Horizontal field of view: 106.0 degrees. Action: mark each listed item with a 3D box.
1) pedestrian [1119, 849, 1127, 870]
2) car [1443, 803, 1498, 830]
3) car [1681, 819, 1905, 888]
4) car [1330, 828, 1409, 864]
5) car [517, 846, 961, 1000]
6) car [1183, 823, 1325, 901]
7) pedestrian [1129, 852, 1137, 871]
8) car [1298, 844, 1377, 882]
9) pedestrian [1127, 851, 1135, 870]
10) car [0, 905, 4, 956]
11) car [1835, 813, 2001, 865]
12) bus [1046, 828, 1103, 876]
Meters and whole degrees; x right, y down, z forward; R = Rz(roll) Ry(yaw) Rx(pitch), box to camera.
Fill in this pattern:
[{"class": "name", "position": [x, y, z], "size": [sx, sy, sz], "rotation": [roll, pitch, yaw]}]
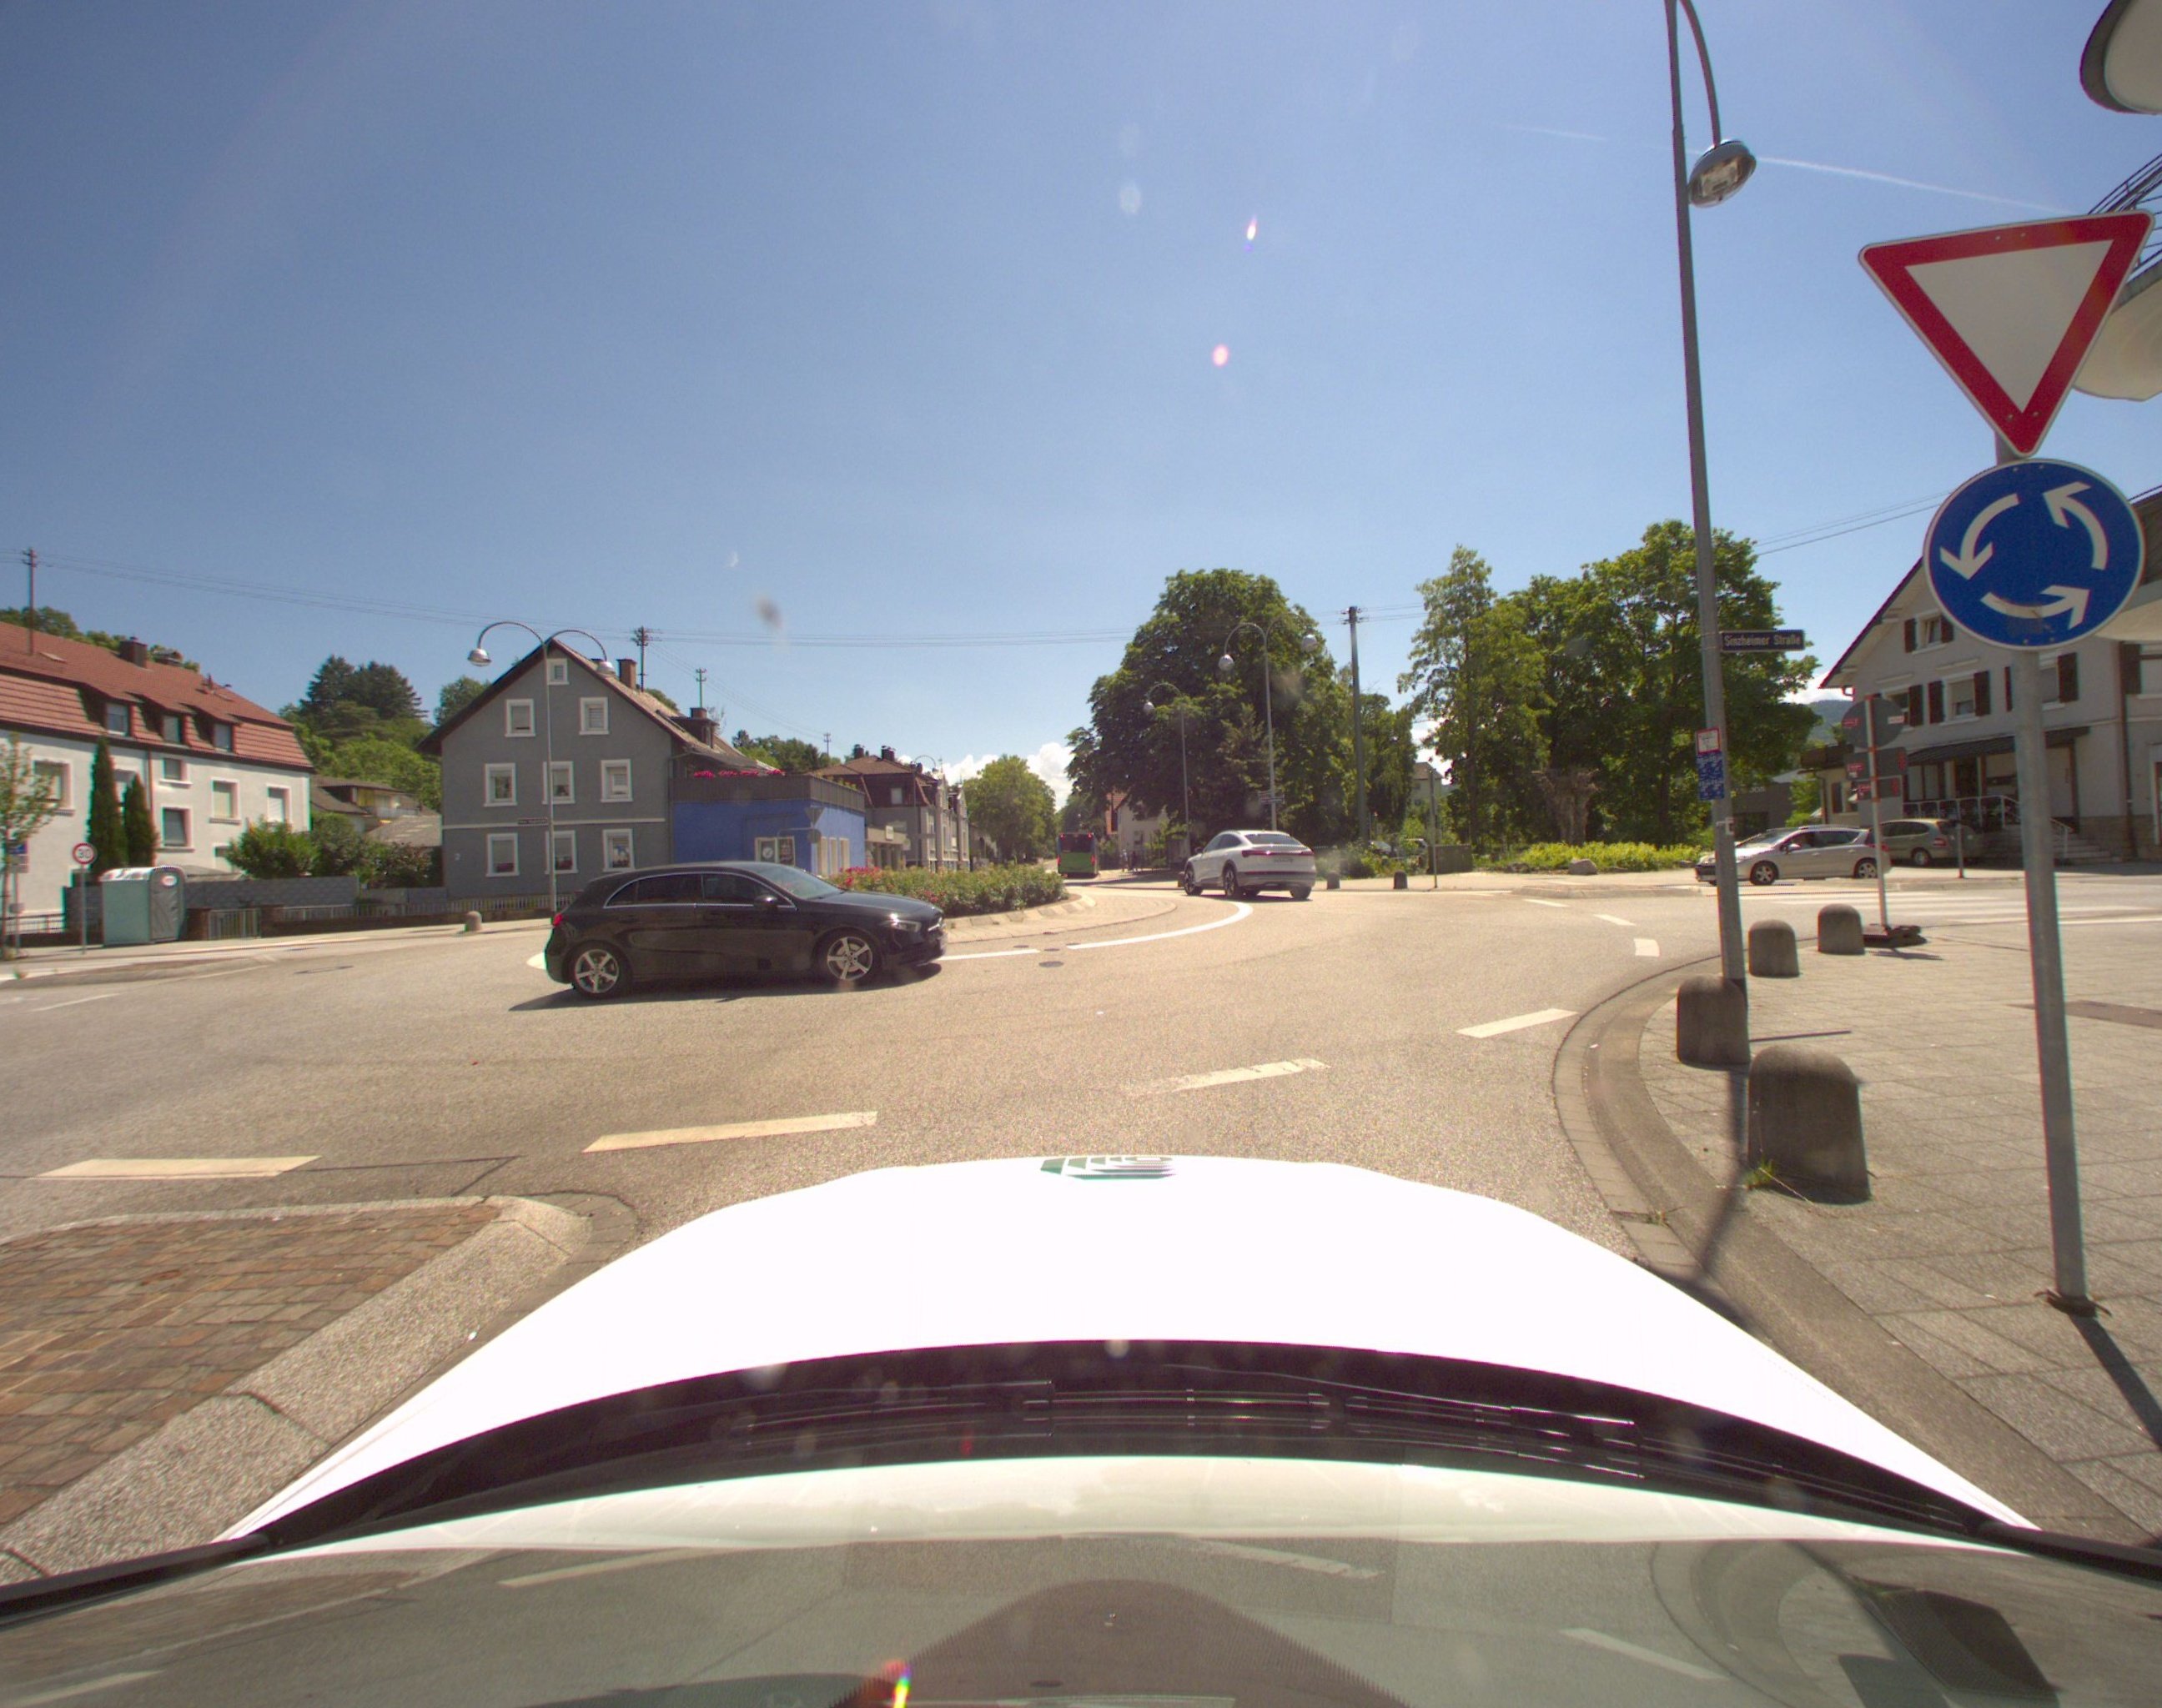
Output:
[{"class": "pedestrian", "position": [3.317, 0.422, 64.827], "size": [0.501, 1.650, 0.578], "rotation": [-2, 0, -6]}, {"class": "car", "position": [32.100, -3.057, 67.160], "size": [3.950, 2.013, 2.012], "rotation": [-3, 0, 26]}, {"class": "car", "position": [18.333, -0.011, 21.110], "size": [4.177, 1.516, 1.747], "rotation": [-3, 0, 2]}, {"class": "car", "position": [17.264, -0.452, 48.814], "size": [2.010, 2.013, 3.953], "rotation": [-2, 0, -40]}, {"class": "car", "position": [-3.820, 0.741, 9.612], "size": [4.405, 1.457, 1.770], "rotation": [-3, 1, 3]}, {"class": "car", "position": [4.076, 0.179, 20.008], "size": [1.899, 1.662, 4.393], "rotation": [-1, 0, -10]}, {"class": "pedestrian", "position": [3.942, 0.553, 61.946], "size": [0.488, 1.454, 0.529], "rotation": [-2, 0, -6]}, {"class": "car", "position": [11.915, 0.398, 37.882], "size": [3.053, 1.552, 1.627], "rotation": [-3, 0, -14]}, {"class": "pedestrian", "position": [4.127, 0.558, 67.292], "size": [0.488, 1.522, 0.541], "rotation": [-2, 0, -6]}, {"class": "car", "position": [-31.122, 2.189, 20.827], "size": [4.075, 1.391, 1.600], "rotation": [-2, 2, -17]}, {"class": "car", "position": [28.987, -0.494, 28.401], "size": [1.745, 1.640, 4.003], "rotation": [-2, 0, 3]}, {"class": "bus", "position": [-0.184, -0.059, 62.980], "size": [3.693, 3.171, 18.074], "rotation": [-1, 0, 2]}]
